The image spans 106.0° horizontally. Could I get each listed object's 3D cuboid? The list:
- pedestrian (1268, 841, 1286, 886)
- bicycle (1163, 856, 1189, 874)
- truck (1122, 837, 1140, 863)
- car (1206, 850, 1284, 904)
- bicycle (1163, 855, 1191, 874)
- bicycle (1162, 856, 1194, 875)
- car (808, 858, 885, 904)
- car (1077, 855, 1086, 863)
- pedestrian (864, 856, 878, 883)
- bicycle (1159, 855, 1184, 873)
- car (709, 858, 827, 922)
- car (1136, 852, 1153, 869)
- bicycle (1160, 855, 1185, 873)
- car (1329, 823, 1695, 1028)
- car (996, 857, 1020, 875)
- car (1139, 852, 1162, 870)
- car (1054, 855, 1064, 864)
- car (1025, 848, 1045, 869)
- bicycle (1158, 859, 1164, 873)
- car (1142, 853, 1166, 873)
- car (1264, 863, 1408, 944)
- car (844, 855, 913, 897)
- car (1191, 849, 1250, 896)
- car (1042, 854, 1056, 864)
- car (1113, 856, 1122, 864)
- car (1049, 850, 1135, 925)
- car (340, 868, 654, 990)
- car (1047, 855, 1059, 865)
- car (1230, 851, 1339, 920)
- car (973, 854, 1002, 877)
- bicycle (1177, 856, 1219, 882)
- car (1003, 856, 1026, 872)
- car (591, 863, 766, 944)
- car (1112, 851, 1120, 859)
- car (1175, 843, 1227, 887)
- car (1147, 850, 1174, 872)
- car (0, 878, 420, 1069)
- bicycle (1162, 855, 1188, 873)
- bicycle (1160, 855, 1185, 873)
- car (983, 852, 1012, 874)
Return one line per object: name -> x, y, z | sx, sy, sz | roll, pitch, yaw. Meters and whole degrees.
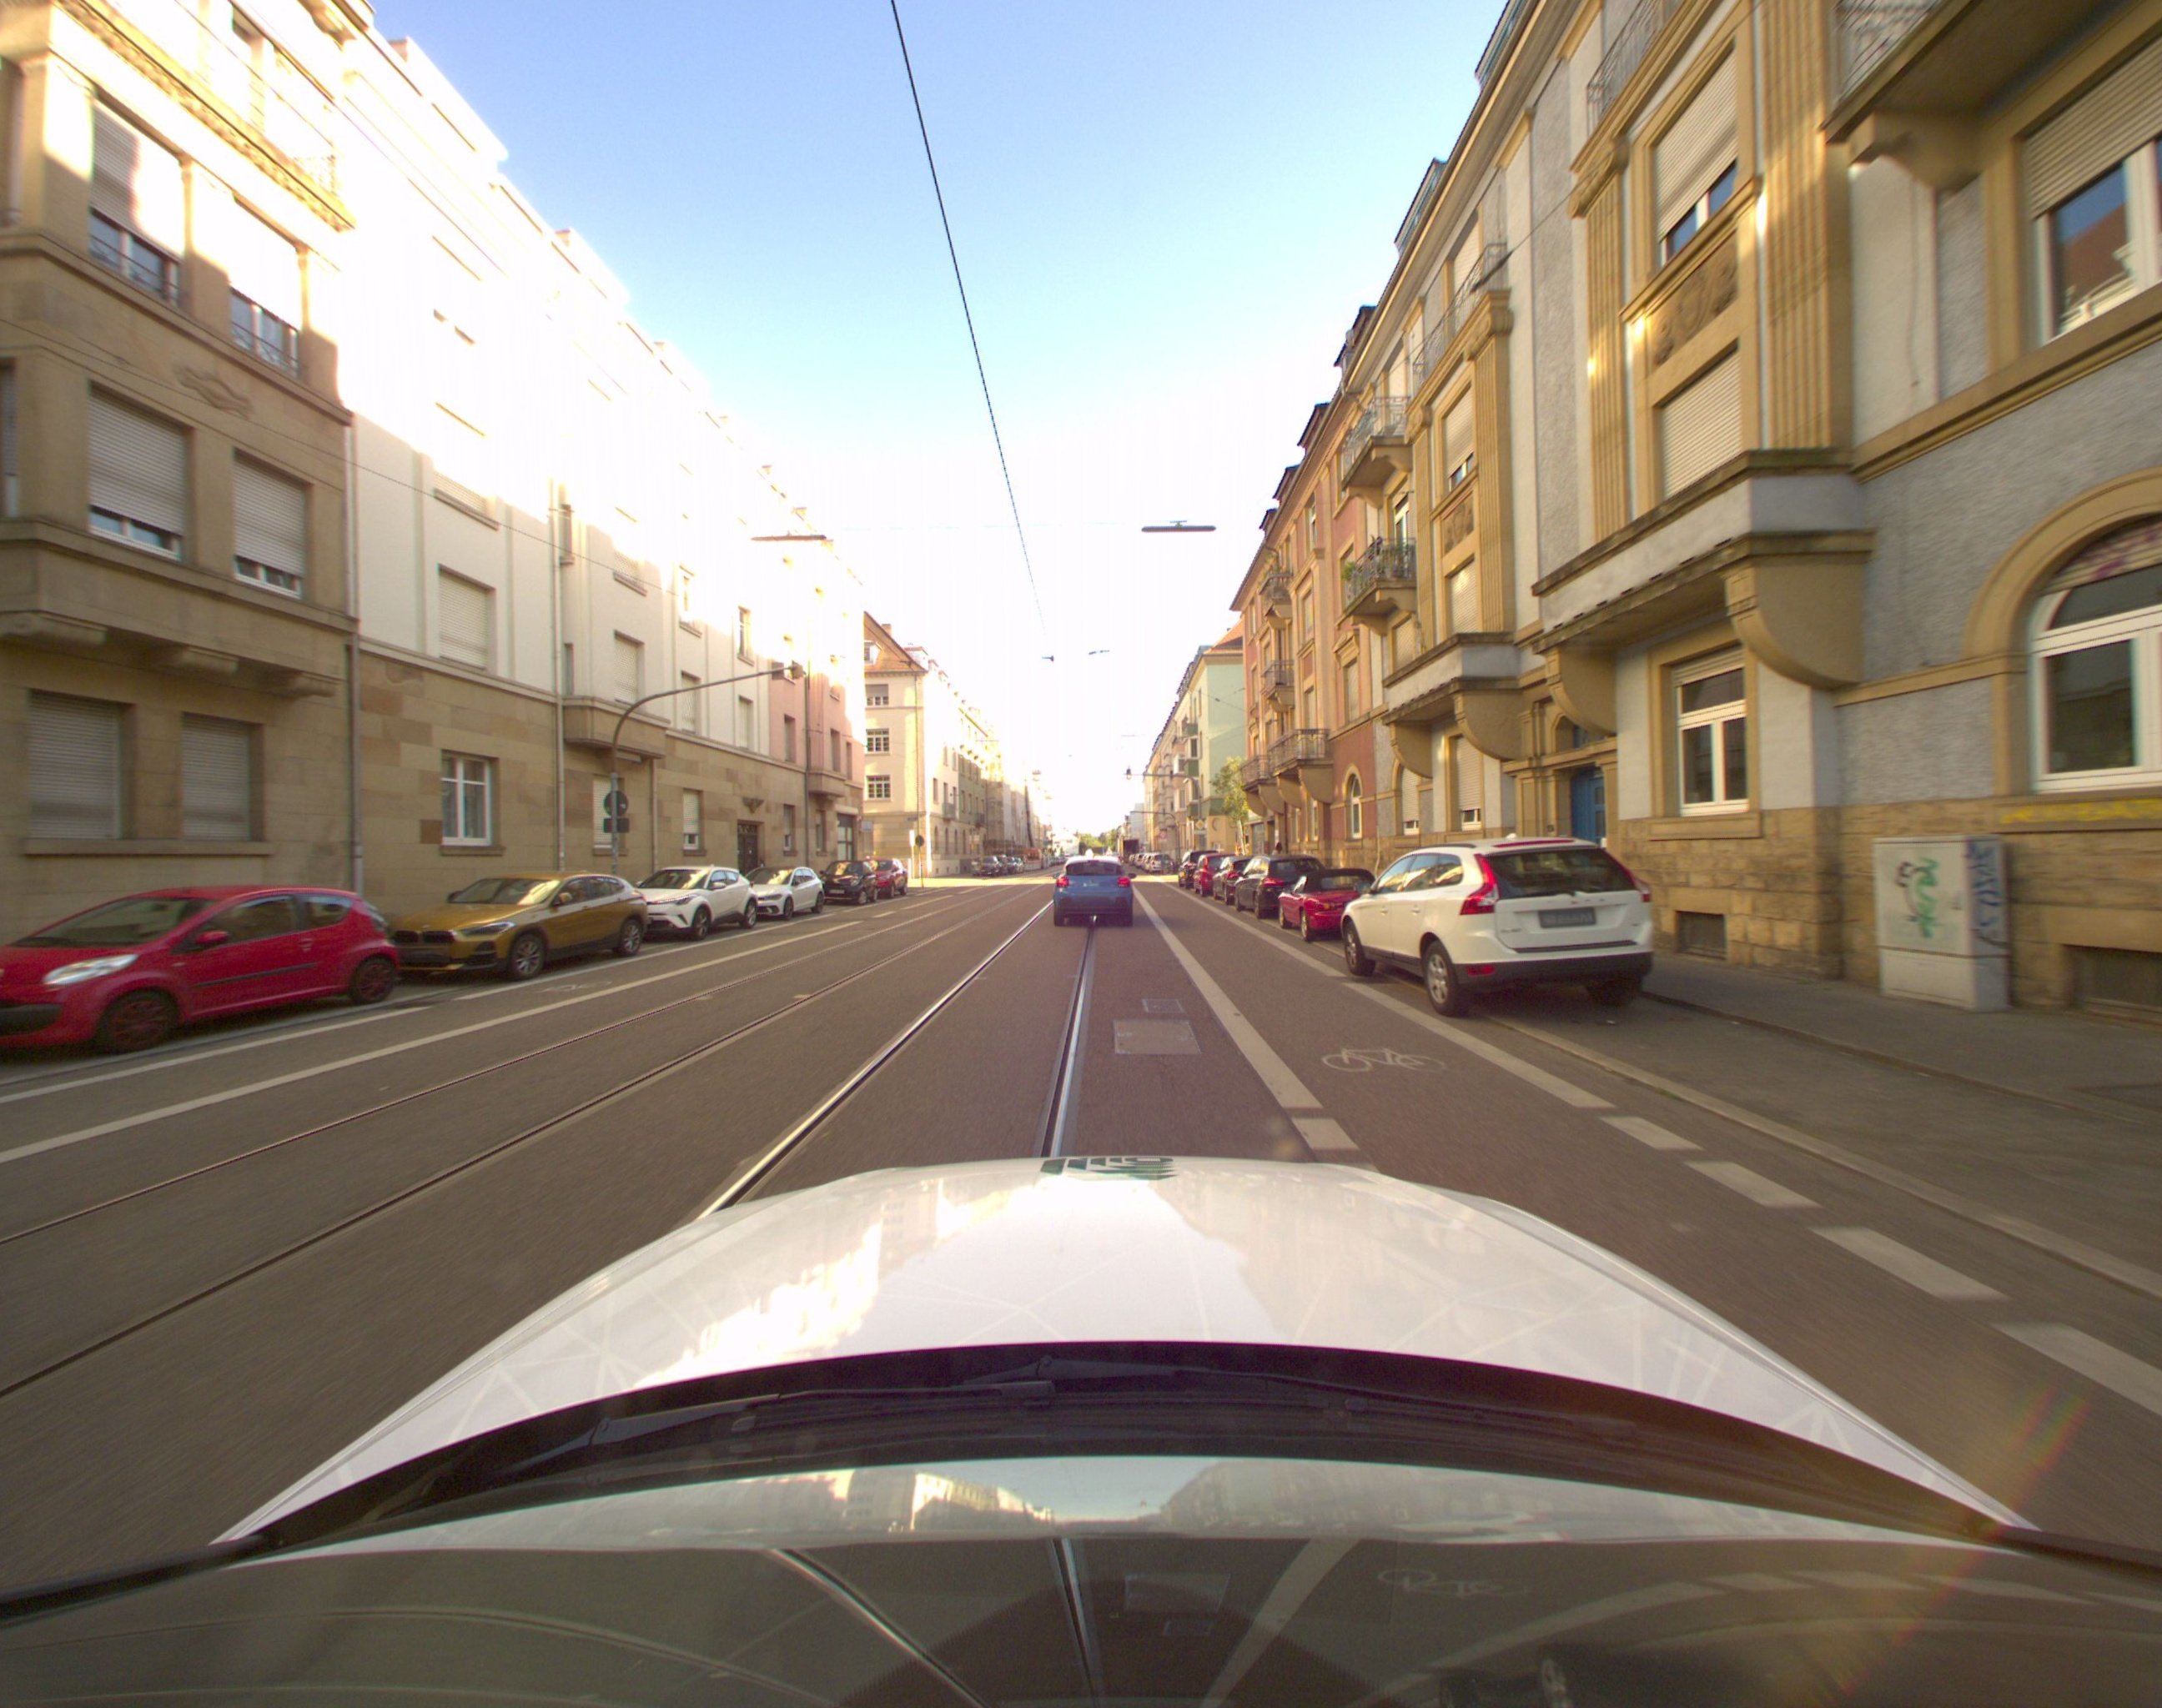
pedestrian -> 7.367, 0.355, 30.615 | 0.511, 1.687, 0.448 | -1, 0, 1
bicycle -> 6.749, 0.767, 58.058 | 1.716, 1.154, 0.469 | -5, 0, 2
truck -> 8.249, -0.597, 134.913 | 2.841, 4.083, 11.279 | -2, 0, 3
car -> 5.070, 0.654, 25.687 | 1.648, 1.513, 4.476 | -1, 0, 2
bicycle -> 6.690, 0.738, 56.821 | 1.836, 1.154, 0.469 | -5, 0, 2
bicycle -> 6.691, 0.759, 56.129 | 2.078, 1.154, 0.848 | -4, 0, 2
car -> -8.385, 0.936, 29.348 | 1.776, 1.553, 3.020 | 1, 0, 2
car -> 0.110, 1.036, 178.278 | 1.819, 1.632, 4.492 | -2, 0, 2
pedestrian -> -13.244, 0.965, 51.310 | 0.604, 1.712, 0.732 | -1, 0, 1
bicycle -> 6.737, 0.756, 60.537 | 1.716, 1.154, 0.469 | -5, 0, 2
car -> -8.838, 0.957, 23.403 | 1.777, 1.622, 4.178 | 1, 0, 0
car -> 7.173, 0.701, 92.820 | 1.724, 1.827, 4.689 | -2, 0, 2
bicycle -> 6.722, 0.750, 59.909 | 1.716, 1.154, 0.469 | -5, 0, 2
car -> 4.320, 0.605, 9.131 | 1.836, 1.691, 4.507 | -1, 0, 2
car -> -6.777, 1.067, 75.800 | 1.777, 1.627, 4.608 | 1, 0, 0
car -> 6.837, 0.685, 80.776 | 1.651, 1.752, 4.599 | -2, 0, -2
car -> -4.416, 1.142, 165.752 | 1.819, 1.632, 3.906 | -2, 0, 2
car -> -5.599, 0.546, 99.489 | 2.138, 2.475, 4.979 | -1, 0, 0
bicycle -> 5.794, 0.861, 59.107 | 0.351, 1.044, 1.730 | -1, 0, 3
car -> 6.206, 0.738, 69.689 | 1.777, 1.576, 4.328 | -2, 0, 2
car -> 4.723, 0.849, 15.710 | 1.647, 1.249, 4.510 | -1, 0, 4
car -> -8.338, 0.879, 33.918 | 1.777, 1.606, 4.396 | 1, 0, 0
car -> 5.149, 0.648, 30.498 | 1.746, 1.594, 3.732 | -1, 0, 3
car -> -5.527, 0.917, 139.913 | 2.137, 1.621, 4.001 | -2, 0, 1
car -> 7.521, 1.184, 168.328 | 1.758, 1.487, 4.033 | -2, 0, 2
car -> 0.300, 0.683, 18.645 | 1.728, 1.507, 3.994 | 1, 0, 2
car -> -8.860, 1.024, 12.944 | 1.777, 1.523, 4.360 | 1, 0, 1
car -> -5.042, 1.018, 145.681 | 1.819, 1.632, 4.851 | -2, 0, 2
car -> 4.934, 0.702, 20.324 | 1.648, 1.483, 4.474 | -1, 0, 1
car -> -7.363, 0.886, 64.410 | 1.777, 1.690, 4.667 | 1, 0, 0
bicycle -> 5.767, 0.733, 40.175 | 1.952, 1.227, 0.527 | -3, 0, 1
car -> -6.658, 0.976, 82.109 | 1.711, 1.502, 4.391 | 1, 0, 3
car -> -8.815, 0.997, 18.320 | 1.766, 1.547, 4.365 | 1, 0, 0
car -> 9.764, 0.325, 227.068 | 2.211, 2.284, 4.086 | -2, 0, 2
car -> 5.321, 0.463, 36.680 | 1.746, 1.735, 4.509 | -5, 0, 2
car -> 6.206, 0.520, 63.940 | 1.777, 1.632, 4.002 | -2, 0, 2
car -> -9.339, 1.047, 8.619 | 1.596, 1.472, 3.647 | 1, 0, 2
bicycle -> 6.747, 0.727, 58.606 | 1.716, 1.154, 0.469 | -5, 0, 2
bicycle -> 6.682, 0.730, 59.289 | 1.716, 1.154, 0.469 | -5, 0, 2
car -> -7.187, 0.774, 70.185 | 1.776, 1.816, 4.531 | 1, 0, 3
